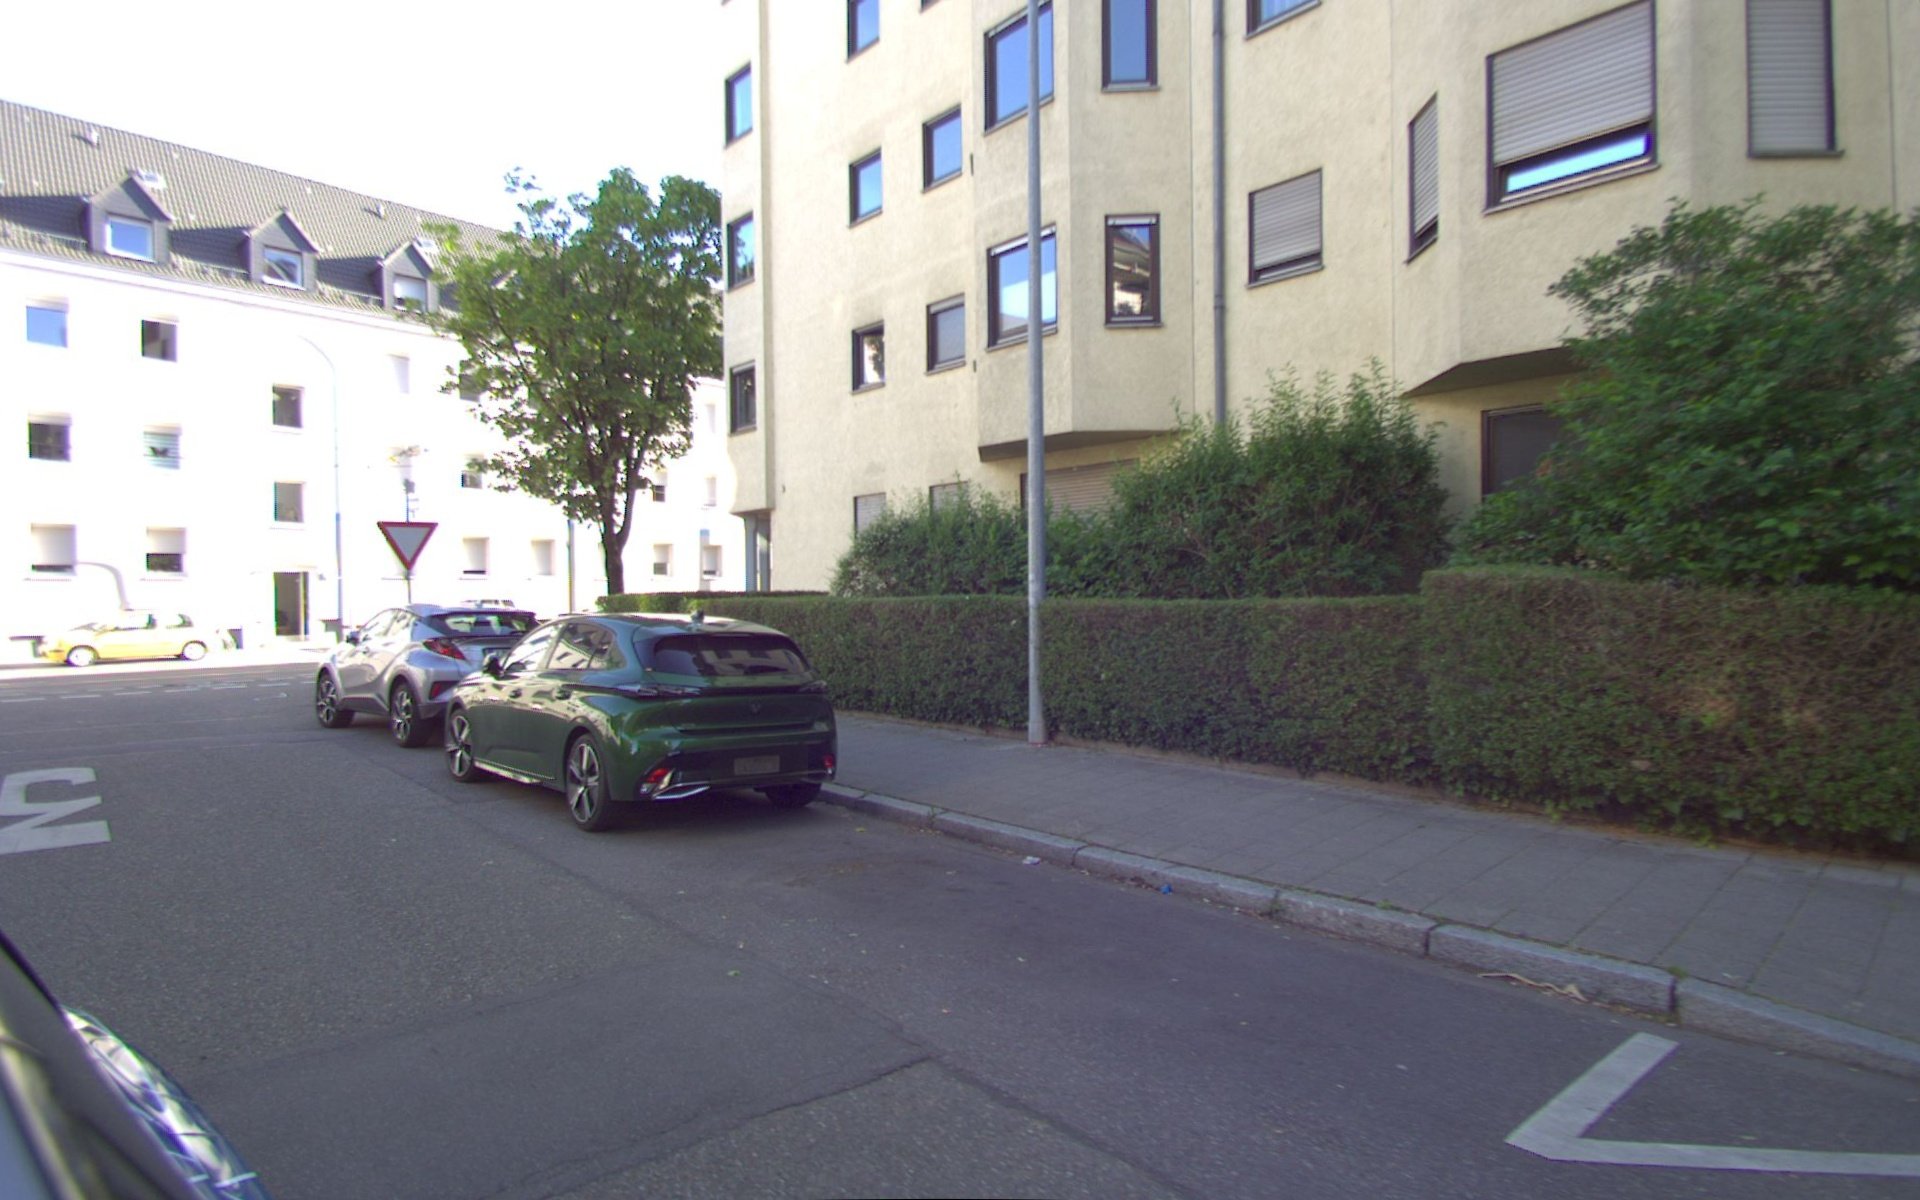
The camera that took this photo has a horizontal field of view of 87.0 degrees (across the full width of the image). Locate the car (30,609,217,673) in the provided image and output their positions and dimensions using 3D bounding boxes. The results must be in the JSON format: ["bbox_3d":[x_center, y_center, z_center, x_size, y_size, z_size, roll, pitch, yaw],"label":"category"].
[{"bbox_3d":[-21.902,1.010,26.603,1.553,1.459,3.566,0,1,40],"label":"car"}]

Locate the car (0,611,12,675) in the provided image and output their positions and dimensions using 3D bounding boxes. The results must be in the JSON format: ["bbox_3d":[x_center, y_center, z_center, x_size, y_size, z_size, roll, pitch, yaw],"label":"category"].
[{"bbox_3d":[-24.806,1.058,23.138,1.944,1.518,4.432,-1,0,42],"label":"car"}]

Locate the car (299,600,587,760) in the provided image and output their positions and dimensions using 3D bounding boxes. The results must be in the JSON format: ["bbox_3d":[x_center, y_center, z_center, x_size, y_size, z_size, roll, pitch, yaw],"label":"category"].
[{"bbox_3d":[-6.205,0.818,11.954,4.073,1.567,1.700,-1,-2,42],"label":"car"}]

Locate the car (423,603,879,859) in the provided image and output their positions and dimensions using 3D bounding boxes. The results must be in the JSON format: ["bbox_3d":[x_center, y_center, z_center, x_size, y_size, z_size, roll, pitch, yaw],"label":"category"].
[{"bbox_3d":[-2.636,0.814,7.955,1.745,1.464,4.211,3,-3,-43],"label":"car"}]

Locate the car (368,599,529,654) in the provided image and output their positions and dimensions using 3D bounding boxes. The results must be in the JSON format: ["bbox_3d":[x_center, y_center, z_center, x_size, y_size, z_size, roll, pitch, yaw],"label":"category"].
[{"bbox_3d":[-16.593,0.828,32.988,1.998,1.569,4.230,-1,1,38],"label":"car"}]

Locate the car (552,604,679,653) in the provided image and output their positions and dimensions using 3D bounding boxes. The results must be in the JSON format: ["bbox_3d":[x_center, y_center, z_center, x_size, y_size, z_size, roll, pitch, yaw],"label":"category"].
[{"bbox_3d":[-12.618,1.023,37.267,1.921,1.698,4.022,-1,-2,38],"label":"car"}]
